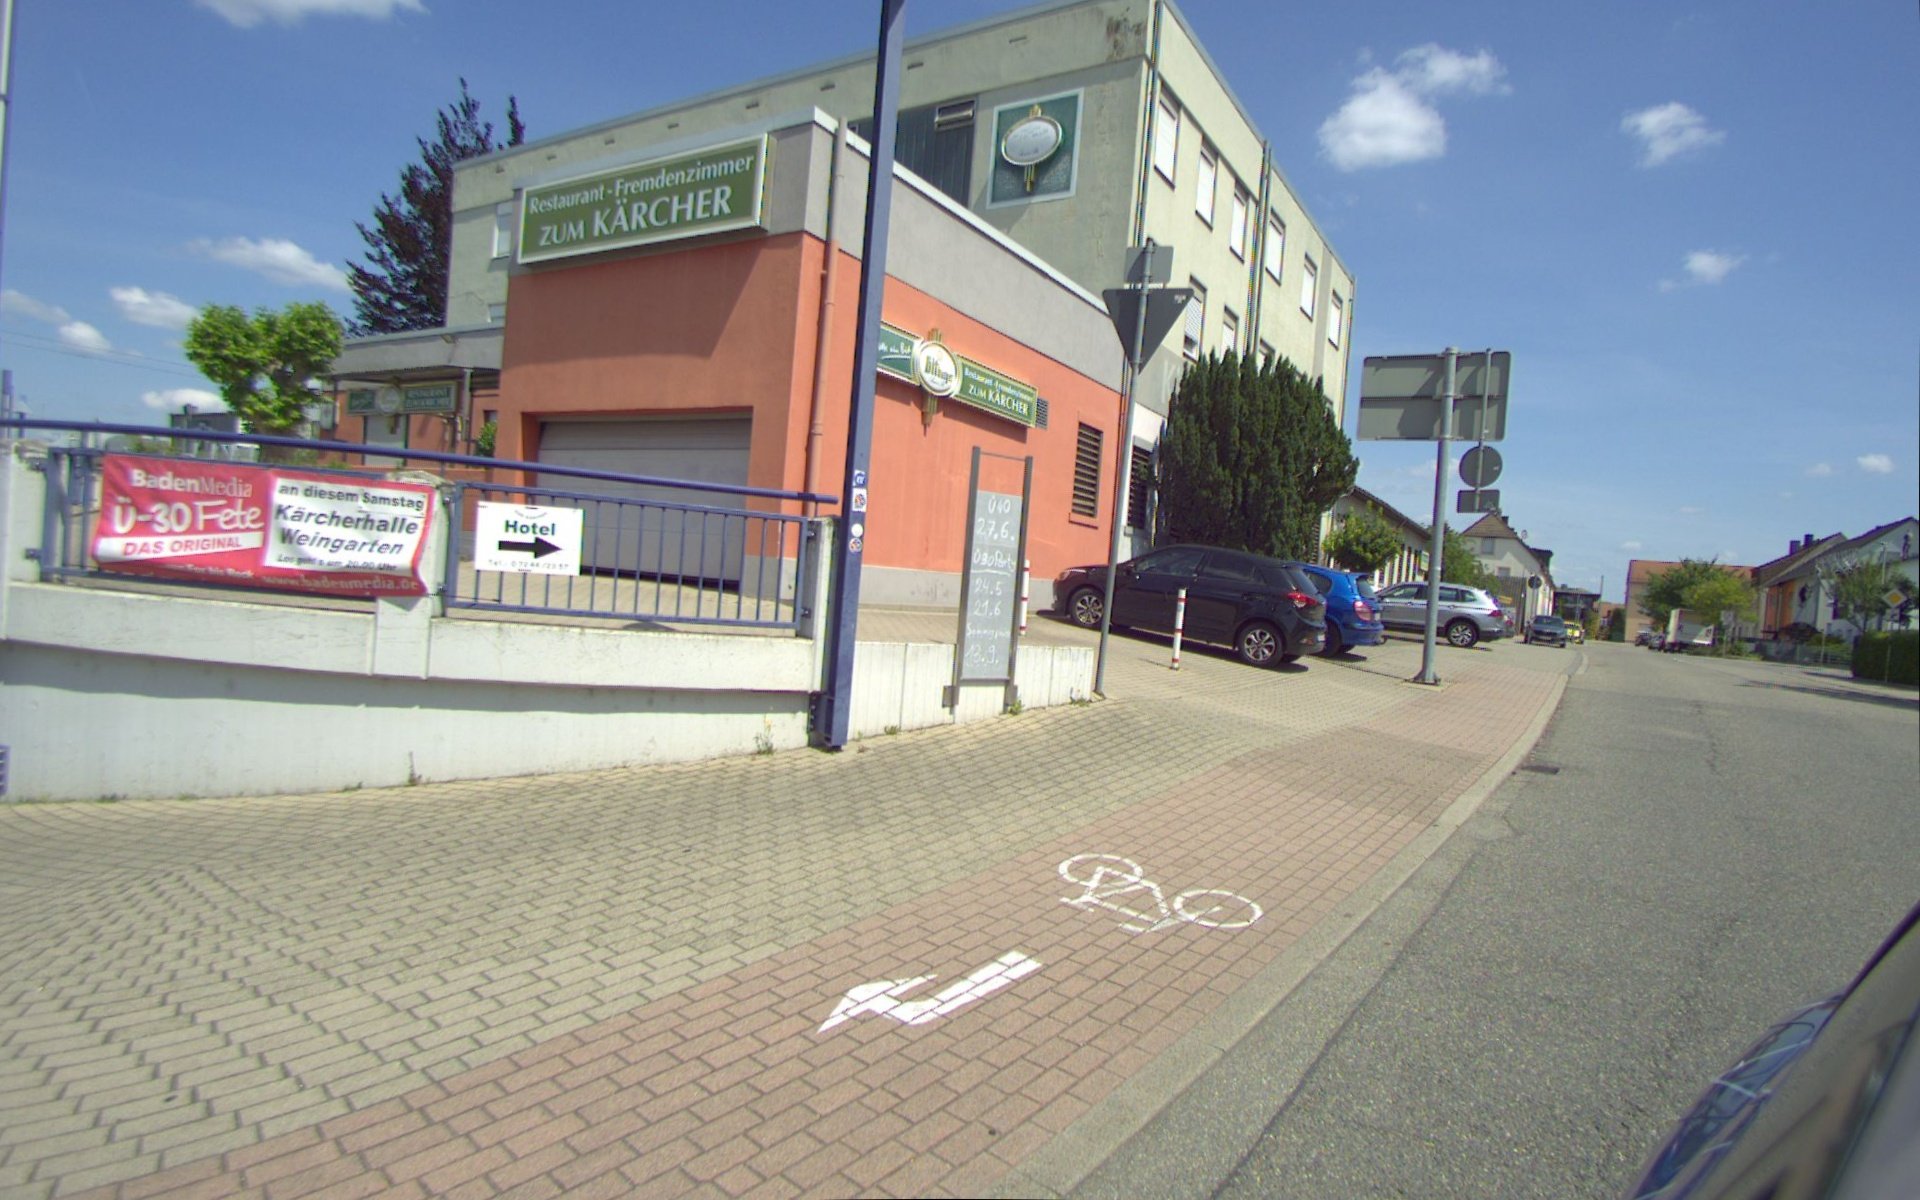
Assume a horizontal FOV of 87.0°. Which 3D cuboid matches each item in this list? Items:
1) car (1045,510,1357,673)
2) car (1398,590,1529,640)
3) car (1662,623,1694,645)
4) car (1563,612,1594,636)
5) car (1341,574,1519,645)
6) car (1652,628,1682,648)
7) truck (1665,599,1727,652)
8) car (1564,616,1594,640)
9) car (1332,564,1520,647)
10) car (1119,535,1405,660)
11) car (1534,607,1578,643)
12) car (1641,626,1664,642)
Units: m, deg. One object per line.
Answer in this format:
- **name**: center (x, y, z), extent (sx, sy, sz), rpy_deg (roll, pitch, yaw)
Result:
- **car**: center (3.444, -0.194, 14.651), extent (3.884, 1.506, 1.790), rpy_deg (13, 7, 31)
- **car**: center (20.575, 0.606, 41.421), extent (4.513, 1.471, 1.895), rpy_deg (8, 3, 33)
- **car**: center (60.550, 2.850, 85.410), extent (1.710, 1.518, 4.167), rpy_deg (8, 3, 31)
- **car**: center (44.910, 1.759, 73.473), extent (1.711, 1.414, 4.165), rpy_deg (10, 4, 32)
- **car**: center (13.953, 0.258, 30.130), extent (4.485, 1.538, 1.977), rpy_deg (8, 3, 32)
- **car**: center (63.514, 3.400, 90.956), extent (1.710, 1.518, 4.167), rpy_deg (8, 3, 31)
- **truck**: center (53.448, 1.836, 73.630), extent (2.428, 3.284, 6.961), rpy_deg (9, 3, 30)
- **car**: center (47.355, 2.146, 77.434), extent (1.711, 1.517, 4.165), rpy_deg (10, 4, 32)
- **car**: center (12.918, 0.130, 28.126), extent (4.436, 1.717, 1.901), rpy_deg (8, 3, 31)
- **car**: center (5.128, -0.134, 17.407), extent (4.309, 1.455, 1.760), rpy_deg (10, 6, 32)
- **car**: center (28.745, 1.186, 48.829), extent (1.621, 1.507, 4.093), rpy_deg (6, 2, 31)
- **car**: center (79.625, 3.910, 116.388), extent (1.710, 1.518, 4.167), rpy_deg (8, 3, 31)
